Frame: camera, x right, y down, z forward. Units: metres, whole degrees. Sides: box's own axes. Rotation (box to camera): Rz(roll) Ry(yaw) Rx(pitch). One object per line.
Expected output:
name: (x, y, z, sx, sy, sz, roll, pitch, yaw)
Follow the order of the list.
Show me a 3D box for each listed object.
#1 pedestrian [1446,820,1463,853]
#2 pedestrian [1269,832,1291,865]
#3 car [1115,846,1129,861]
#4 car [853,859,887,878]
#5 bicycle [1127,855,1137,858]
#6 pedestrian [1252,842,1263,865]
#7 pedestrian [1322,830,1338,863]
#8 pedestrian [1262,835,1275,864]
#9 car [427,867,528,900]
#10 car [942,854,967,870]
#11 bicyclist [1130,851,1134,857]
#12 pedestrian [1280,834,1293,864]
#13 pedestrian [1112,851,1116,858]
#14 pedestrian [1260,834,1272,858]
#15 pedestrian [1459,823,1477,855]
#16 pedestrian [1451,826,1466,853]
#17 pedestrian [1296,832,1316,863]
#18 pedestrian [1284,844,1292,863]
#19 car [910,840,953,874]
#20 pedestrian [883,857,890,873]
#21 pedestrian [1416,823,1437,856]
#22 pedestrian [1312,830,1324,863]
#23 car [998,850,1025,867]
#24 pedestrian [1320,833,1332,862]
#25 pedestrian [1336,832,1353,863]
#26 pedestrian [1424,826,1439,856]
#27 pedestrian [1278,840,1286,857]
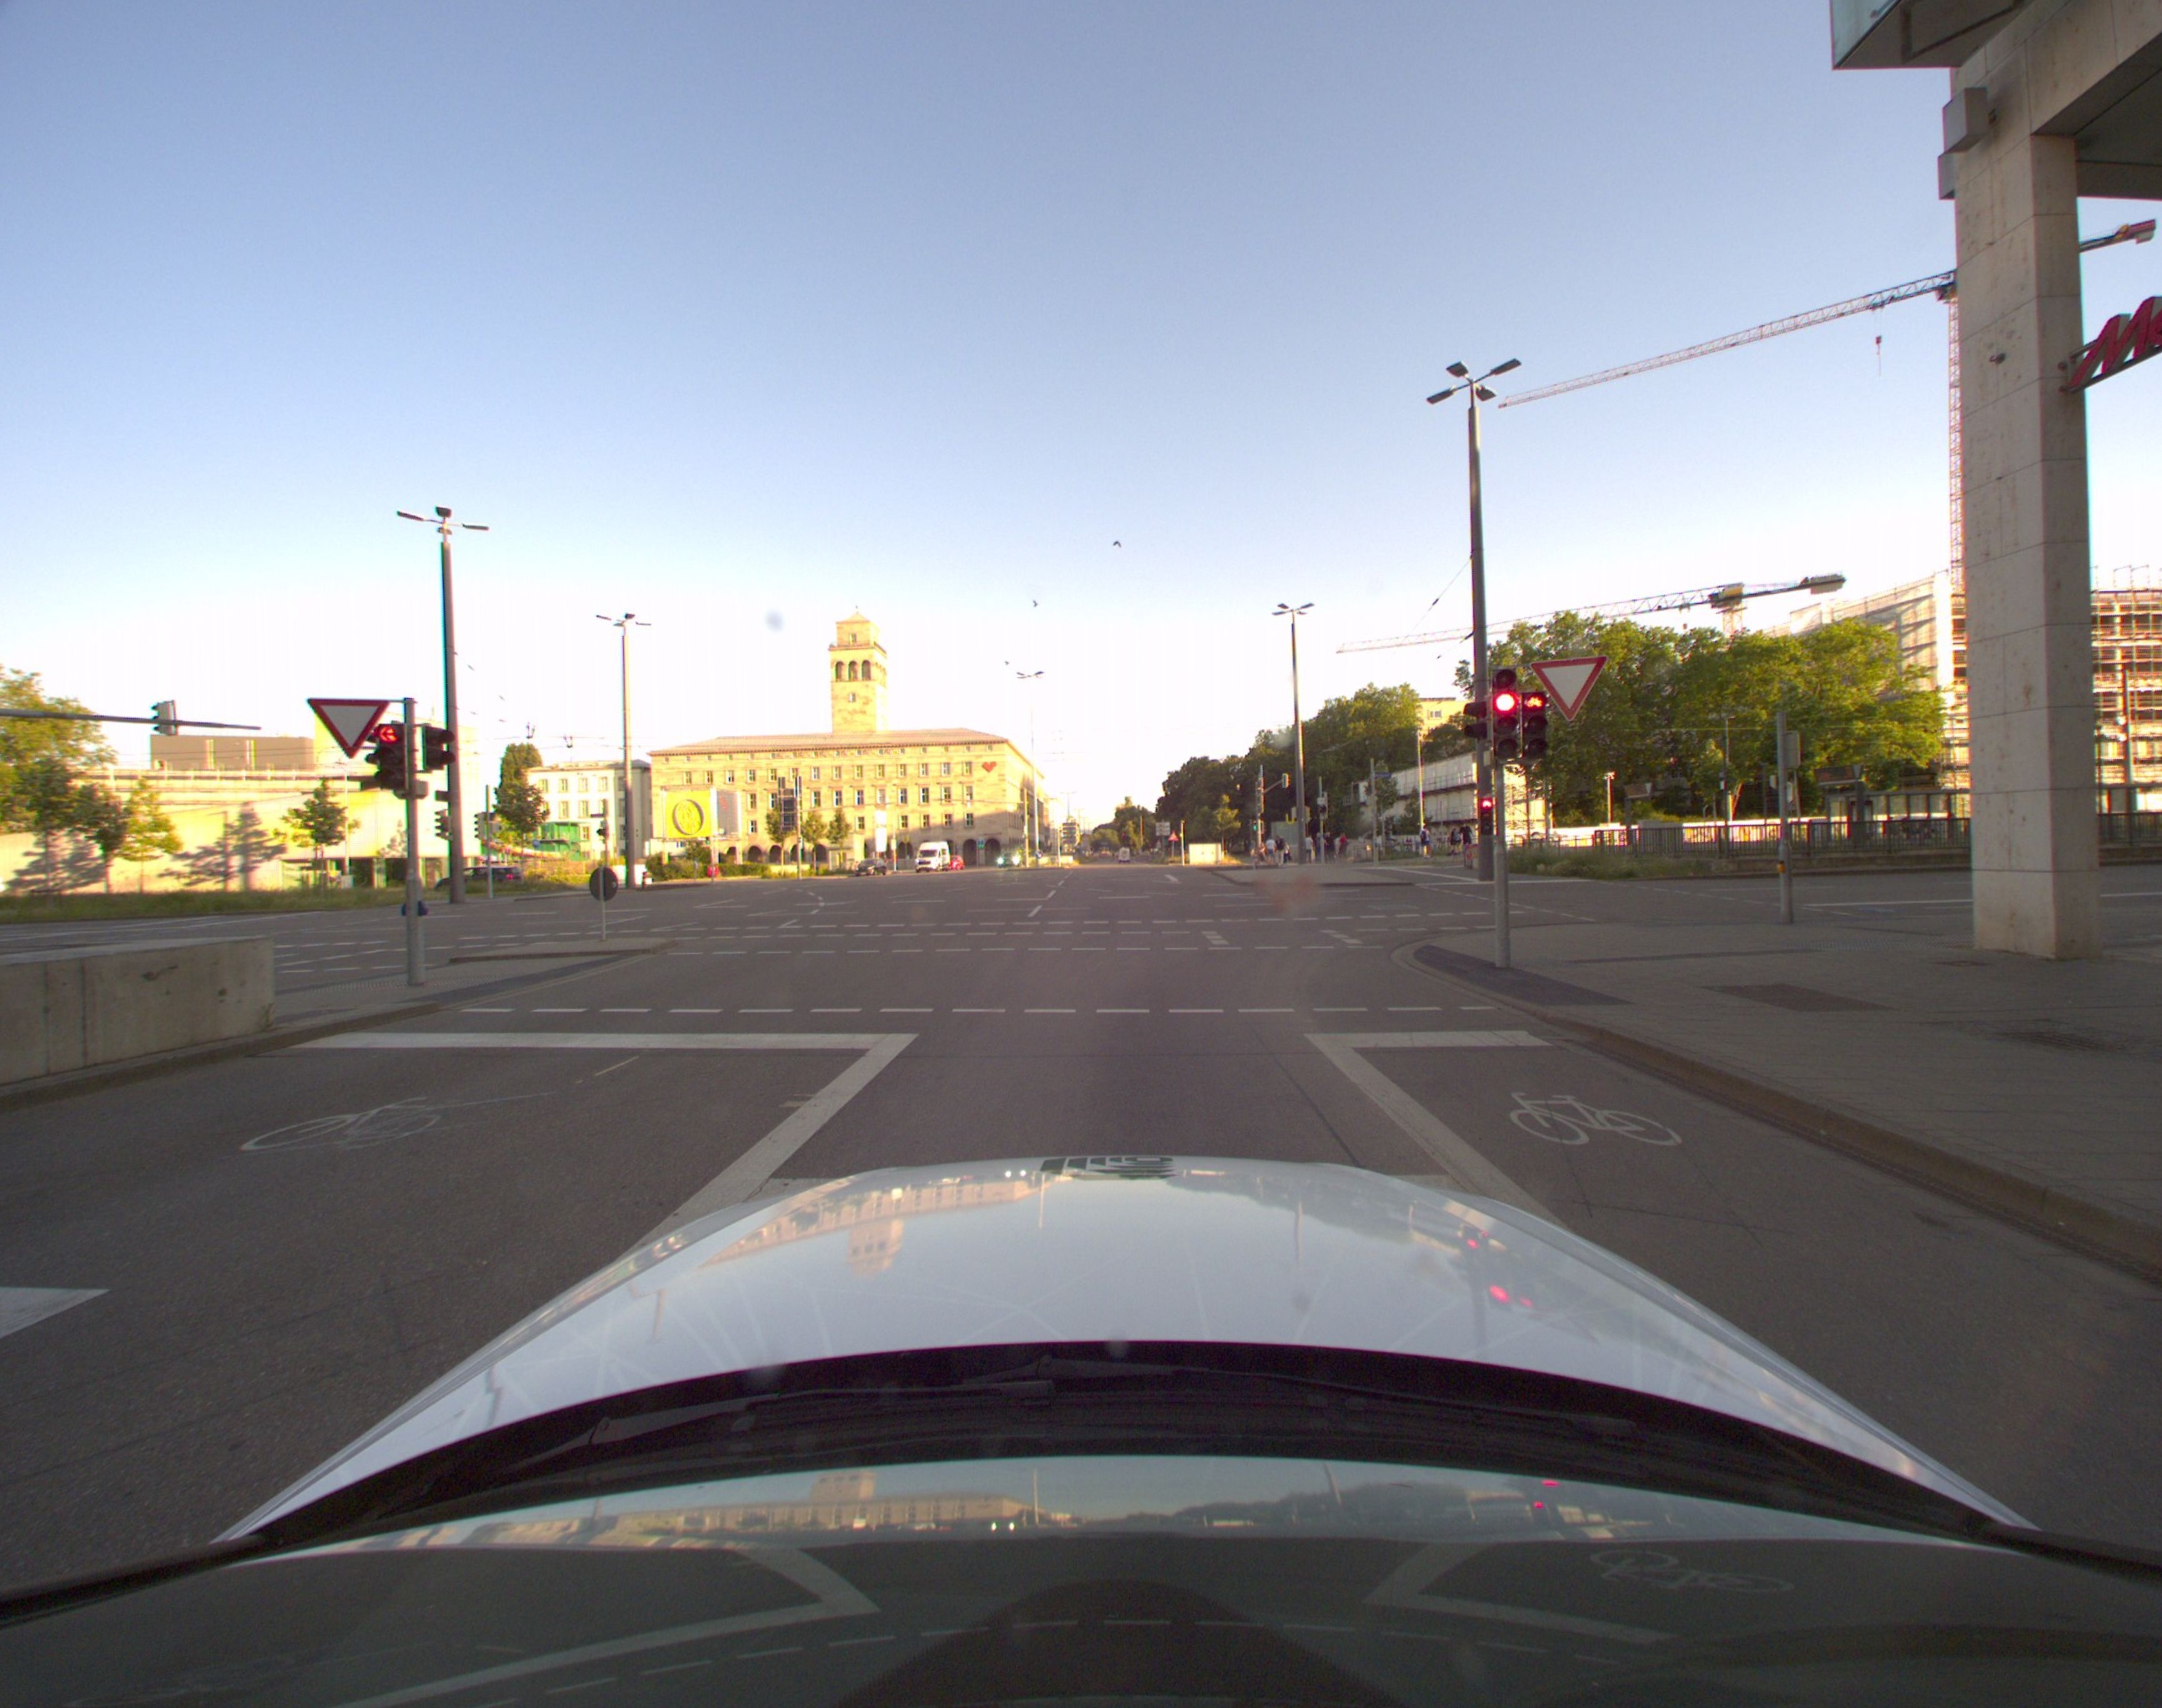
pedestrian: (19.770, -0.925, 43.097, 0.705, 1.725, 0.672, -2, 0, 19)
pedestrian: (10.762, -0.285, 44.120, 0.714, 1.725, 0.907, -2, 1, -25)
car: (4.884, -0.077, 96.918, 1.479, 1.696, 2.972, -2, 0, -1)
car: (-18.306, 1.228, 70.943, 1.817, 1.466, 4.158, -2, 1, 0)
bicycle: (14.096, 0.681, 224.536, 2.602, 0.959, 0.513, 0, -1, -10)
pedestrian: (13.113, -0.042, 60.554, 0.555, 1.654, 0.907, -2, 1, 22)
pedestrian: (13.929, -0.410, 45.502, 0.799, 1.791, 0.804, -2, 1, 16)
pedestrian: (11.184, -0.289, 48.580, 0.705, 1.725, 0.671, -2, 1, 16)
car: (-33.860, 1.627, 45.786, 4.118, 1.604, 1.740, -2, 0, -8)
car: (-12.638, 0.774, 81.666, 1.732, 1.487, 4.002, -2, 1, 2)
bicyclist: (14.023, 0.032, 224.532, 0.830, 1.463, 0.658, -2, 0, -10)
pedestrian: (12.276, -0.296, 48.719, 0.705, 1.725, 0.671, -2, 1, 15)
pedestrian: (7.920, 0.211, 194.810, 0.903, 1.671, 1.307, -2, 1, 1)
pedestrian: (13.689, -0.585, 60.313, 0.673, 1.757, 0.907, -2, 1, 22)
pedestrian: (21.119, -0.827, 44.466, 0.706, 1.725, 0.671, -2, 0, 13)
pedestrian: (20.249, -0.791, 43.721, 0.670, 1.441, 0.718, -2, 0, 24)
pedestrian: (12.858, -0.367, 46.530, 0.908, 1.725, 0.714, -2, 0, 4)
pedestrian: (15.651, -0.033, 61.493, 0.568, 1.437, 0.641, -2, 1, 13)
car: (-13.286, 0.235, 72.980, 2.269, 2.776, 6.090, -2, 0, 4)
pedestrian: (-20.856, 1.182, 87.242, 0.620, 1.744, 0.459, 0, -1, -4)
pedestrian: (18.169, -0.754, 42.860, 0.670, 1.725, 0.706, -2, 0, -31)
pedestrian: (13.307, -0.428, 45.744, 0.568, 1.791, 0.641, -2, 1, 16)
car: (-6.193, 0.389, 72.966, 1.815, 1.341, 4.005, -2, 1, 4)
pedestrian: (14.115, -0.369, 46.952, 0.568, 1.678, 0.641, -2, 1, 16)
pedestrian: (14.834, -0.372, 45.867, 0.838, 1.734, 0.708, -2, 1, 14)
pedestrian: (19.057, -0.701, 44.314, 0.569, 1.592, 0.537, -2, 0, 1)
pedestrian: (21.360, -0.607, 86.639, 0.662, 1.842, 0.714, -2, 1, 7)
